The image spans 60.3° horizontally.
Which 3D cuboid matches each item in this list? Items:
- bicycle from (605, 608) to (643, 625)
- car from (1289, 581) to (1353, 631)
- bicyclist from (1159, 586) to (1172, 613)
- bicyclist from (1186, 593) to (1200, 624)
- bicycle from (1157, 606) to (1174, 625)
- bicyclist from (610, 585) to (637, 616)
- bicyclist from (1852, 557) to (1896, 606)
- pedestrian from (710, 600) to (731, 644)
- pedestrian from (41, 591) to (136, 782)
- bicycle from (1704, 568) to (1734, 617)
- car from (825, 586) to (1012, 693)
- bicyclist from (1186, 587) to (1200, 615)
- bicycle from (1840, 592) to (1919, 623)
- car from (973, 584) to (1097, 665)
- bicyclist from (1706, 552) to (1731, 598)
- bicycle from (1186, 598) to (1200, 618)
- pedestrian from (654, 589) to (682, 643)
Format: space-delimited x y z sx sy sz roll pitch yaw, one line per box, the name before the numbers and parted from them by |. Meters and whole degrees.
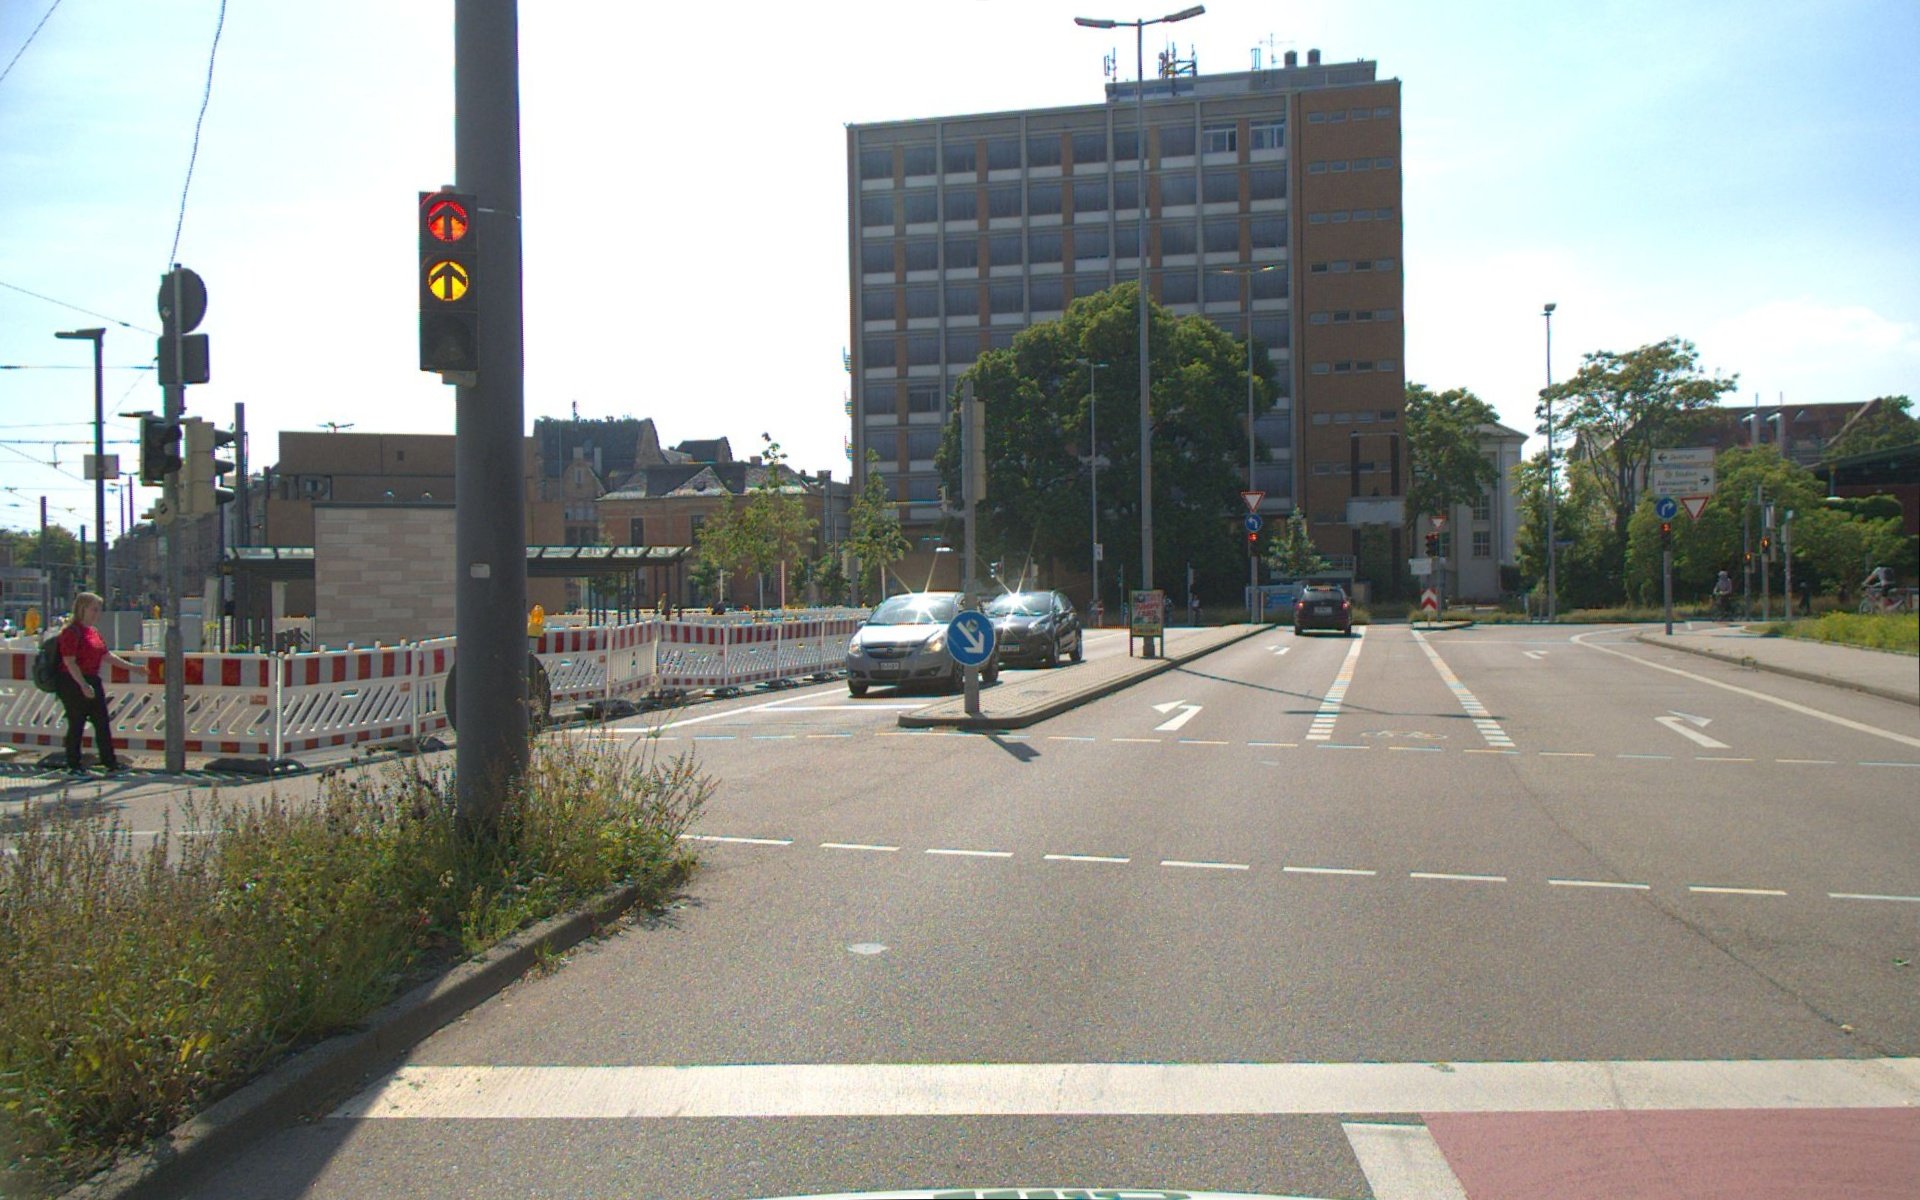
bicycle | -16.385 0.805 80.562 1.853 0.806 0.560 -1 1 27
car | 11.103 0.158 50.675 1.742 1.468 3.821 1 1 15
bicyclist | 11.275 -0.016 90.666 0.528 1.441 1.031 -2 -1 13
bicyclist | 12.485 0.427 88.501 0.605 1.609 1.015 -4 0 10
bicycle | 11.312 0.841 90.951 0.689 0.994 2.032 -2 0 12
bicyclist | -16.376 0.029 80.567 1.142 1.500 0.563 -1 0 27
bicyclist | 28.511 -0.580 51.605 0.489 1.496 1.132 1 -1 -28
pedestrian | -8.285 0.752 57.287 0.618 1.518 0.616 -2 0 -2
pedestrian | -7.699 0.748 14.626 0.342 1.644 0.687 -1 0 15
bicycle | 28.160 -0.280 61.401 0.663 1.796 1.812 -2 0 14
car | -0.545 0.551 25.316 1.756 1.436 4.003 -3 0 15
bicyclist | 12.463 0.048 88.505 0.605 1.468 0.921 -4 0 10
bicycle | 28.612 0.228 51.507 0.665 0.932 2.149 -2 0 -28
car | 1.526 0.436 32.287 1.631 1.476 3.821 -1 0 15
bicyclist | 28.159 -0.926 61.413 0.663 1.684 0.919 -2 0 14
bicycle | 12.485 0.427 88.501 0.605 0.977 1.970 -4 0 10
pedestrian | -9.755 0.542 55.336 0.721 1.783 1.110 -2 -2 -1
